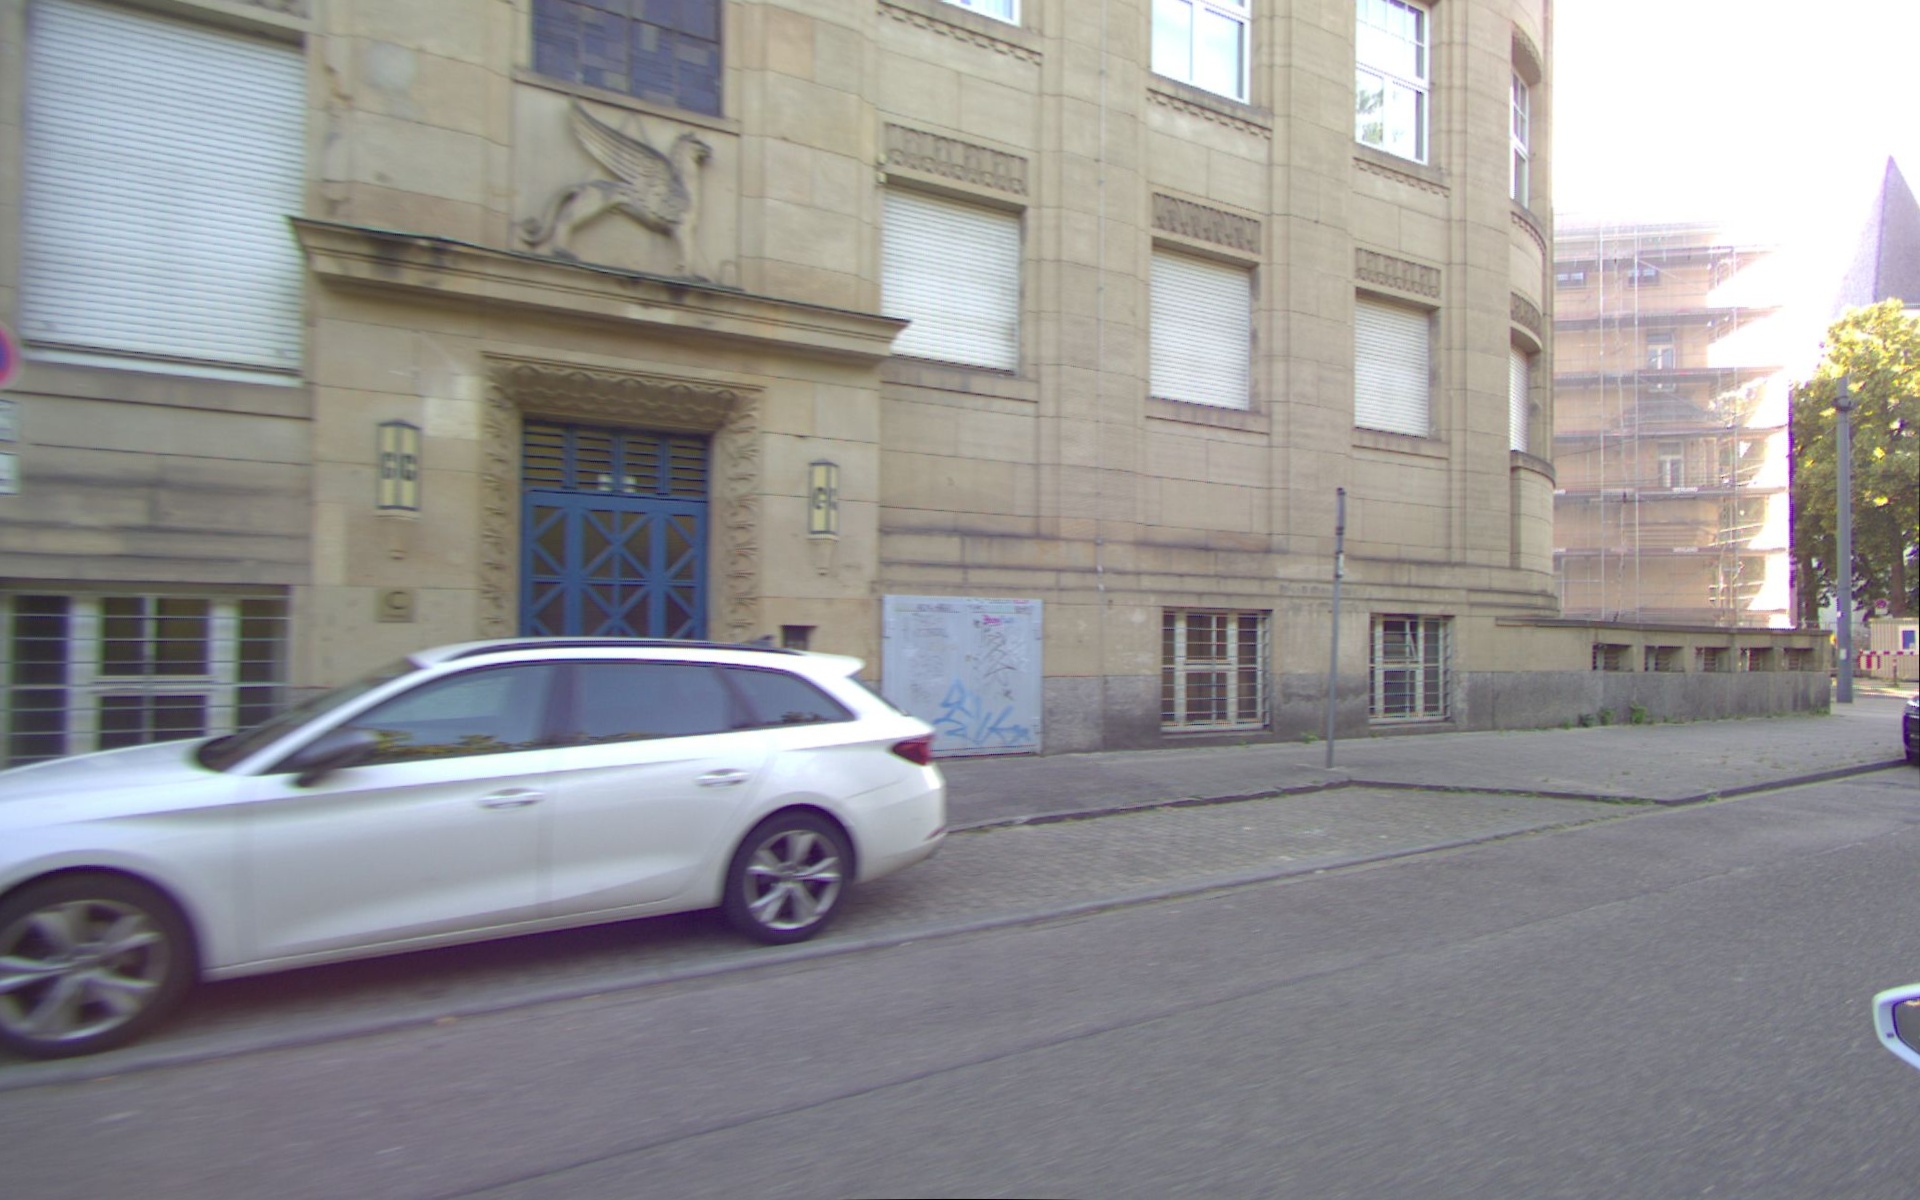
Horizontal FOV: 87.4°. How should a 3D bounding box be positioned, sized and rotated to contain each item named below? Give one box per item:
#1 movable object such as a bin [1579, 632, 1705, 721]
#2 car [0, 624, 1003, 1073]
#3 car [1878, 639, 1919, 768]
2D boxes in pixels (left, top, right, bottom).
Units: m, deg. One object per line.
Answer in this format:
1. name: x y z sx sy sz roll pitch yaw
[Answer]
1. movable object such as a bin: 12.094 1.327 17.837 1.603 1.505 1.144 1 -2 -21
2. car: -2.149 0.889 4.942 4.508 1.454 1.735 2 -1 -30
3. car: 12.946 1.214 12.028 4.159 1.467 1.735 2 -2 -30
